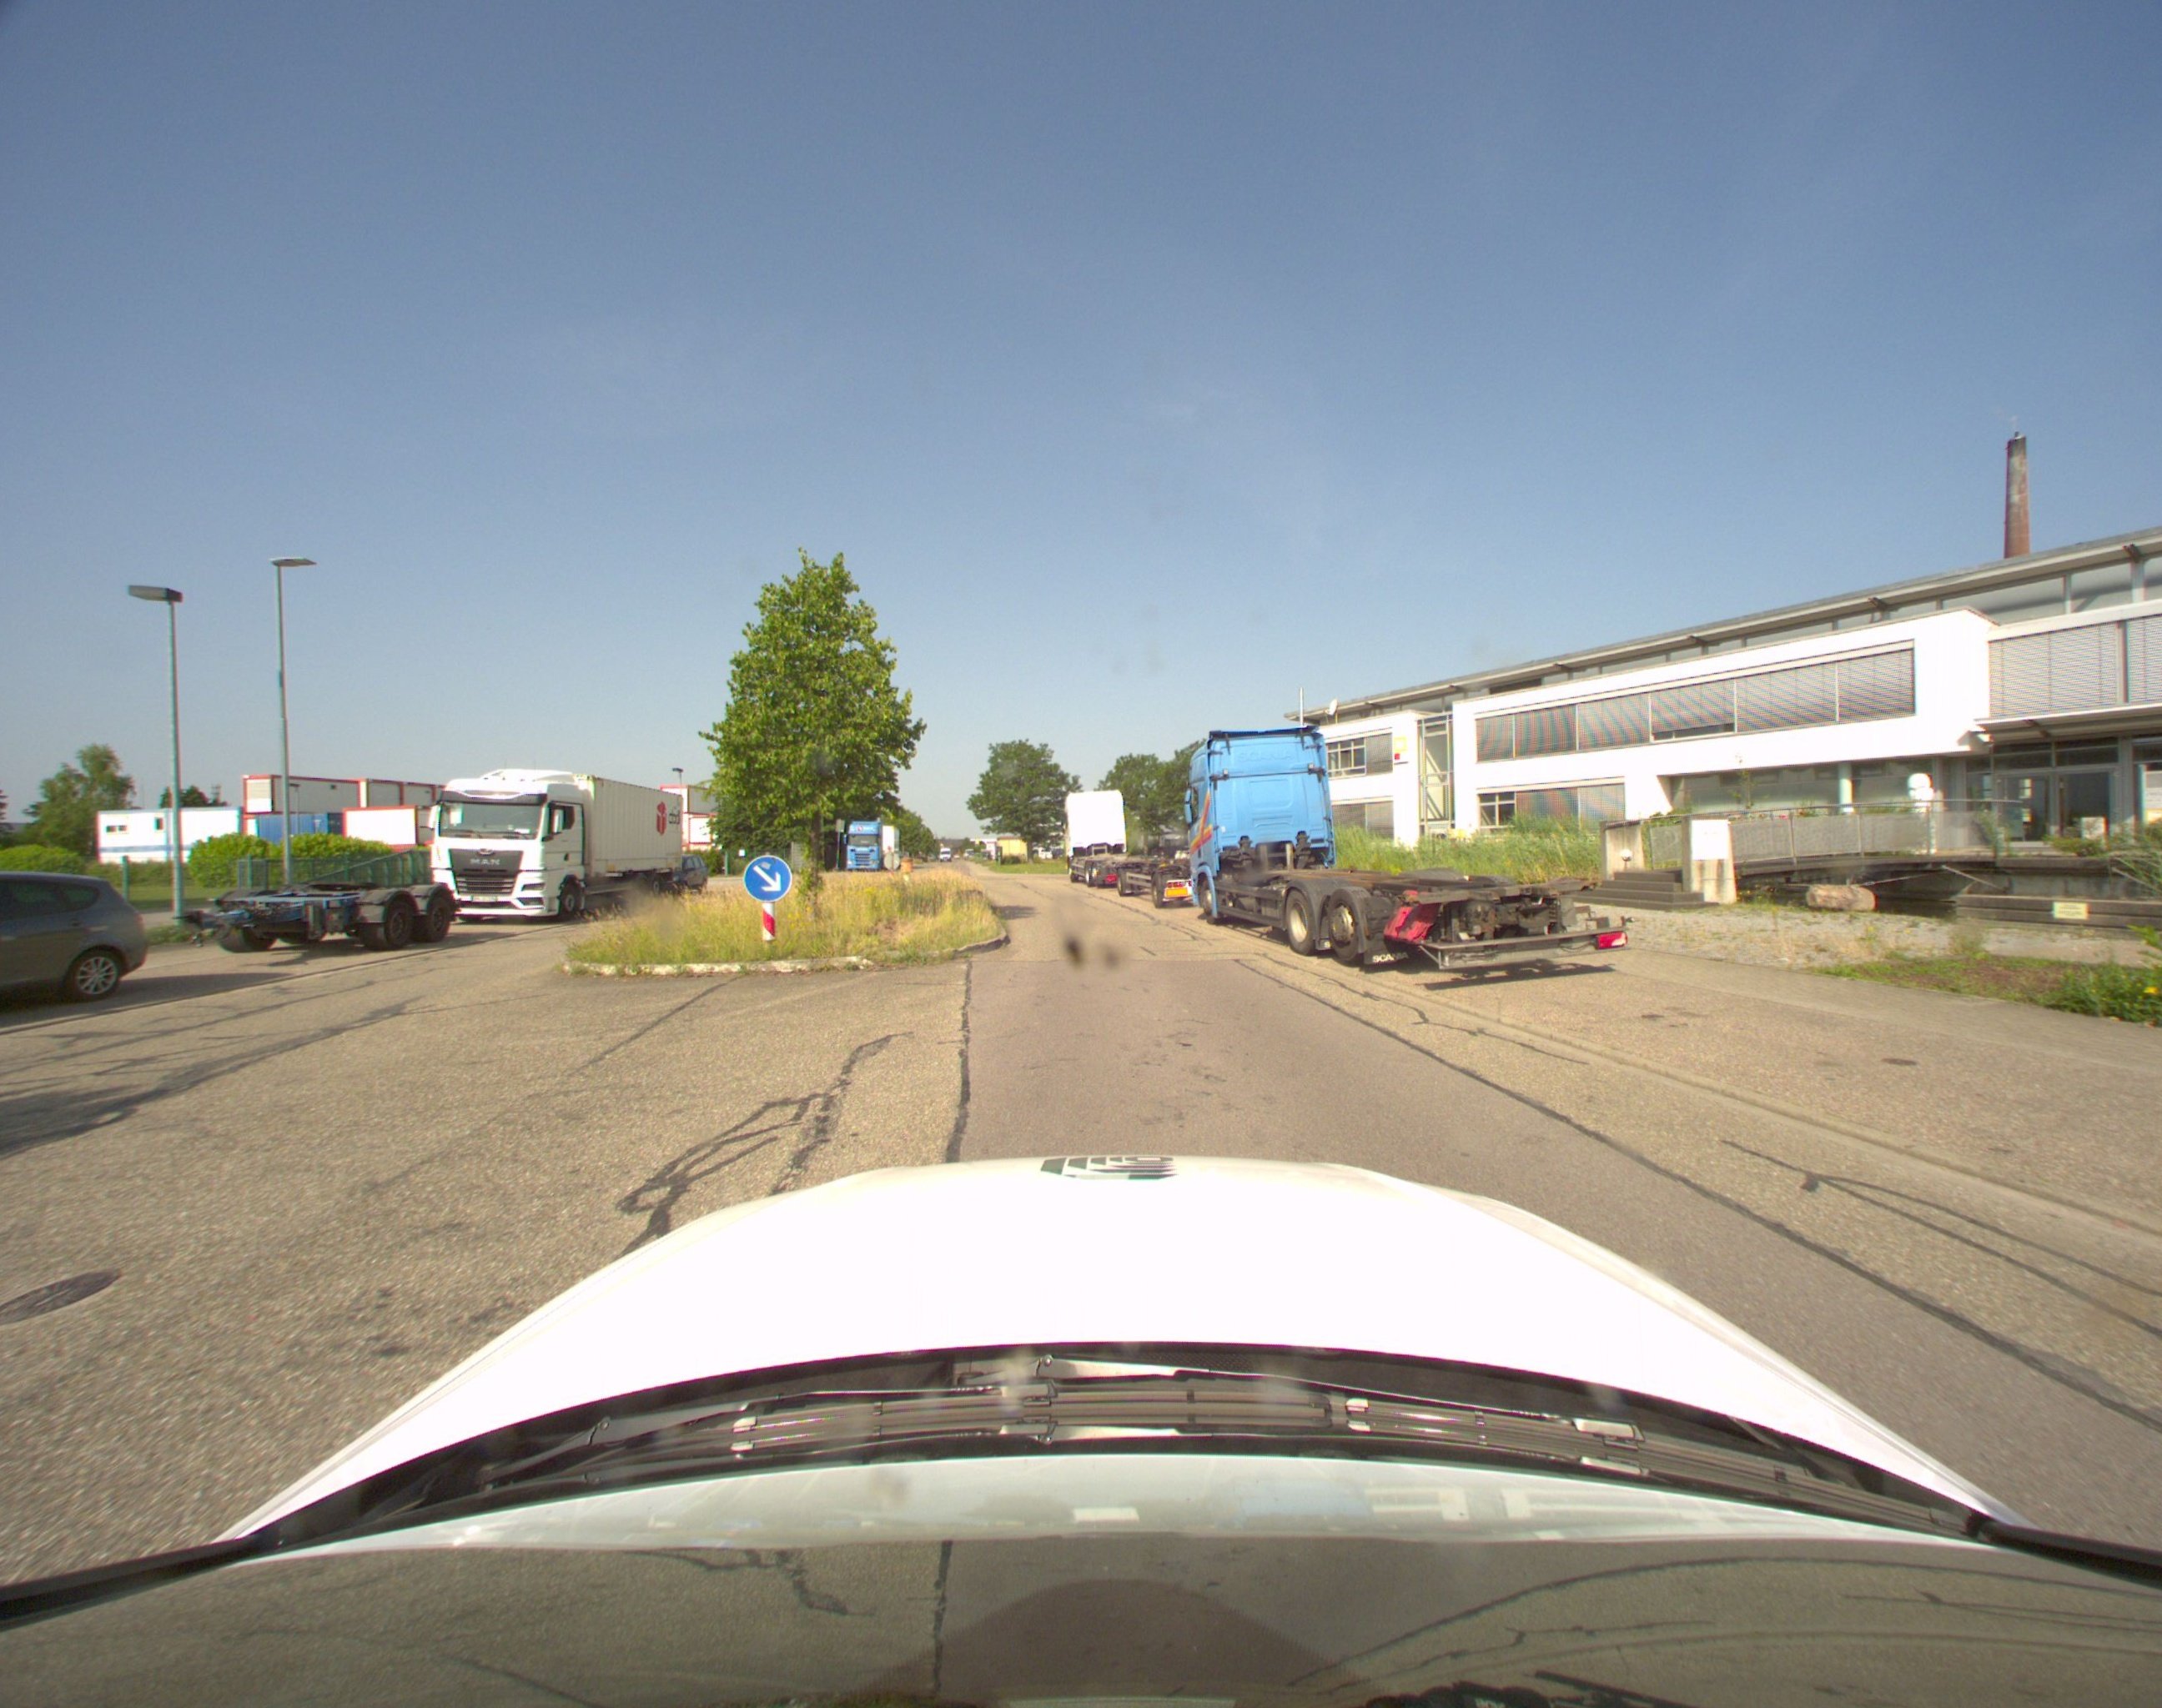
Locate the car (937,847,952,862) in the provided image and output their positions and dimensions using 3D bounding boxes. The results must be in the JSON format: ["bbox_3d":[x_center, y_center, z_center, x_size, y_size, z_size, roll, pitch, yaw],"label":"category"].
[{"bbox_3d":[-25.266,0.140,150.447,2.218,2.686,6.818,1,-1,-15],"label":"car"}]

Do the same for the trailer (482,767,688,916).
[{"bbox_3d":[-14.897,-0.252,25.290,2.699,3.922,7.550,1,-1,-9],"label":"trailer"}]

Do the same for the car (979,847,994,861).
[{"bbox_3d":[-12.450,-0.010,107.167,1.792,1.750,3.987,1,-1,-9],"label":"car"}]

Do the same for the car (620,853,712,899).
[{"bbox_3d":[-16.197,0.794,32.040,1.994,1.641,4.571,0,0,-11],"label":"car"}]

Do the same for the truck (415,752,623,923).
[{"bbox_3d":[-14.221,-0.326,21.049,2.708,3.922,4.282,1,-1,-9],"label":"truck"}]

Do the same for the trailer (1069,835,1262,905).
[{"bbox_3d":[2.008,0.398,28.168,2.745,1.574,16.125,-3,0,-8],"label":"trailer"}]

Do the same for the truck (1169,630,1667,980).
[{"bbox_3d":[4.173,-0.508,13.485,2.886,3.535,9.728,-5,0,-8],"label":"truck"}]

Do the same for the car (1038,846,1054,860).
[{"bbox_3d":[-4.309,-0.126,99.745,1.715,1.618,3.992,1,-1,-5],"label":"car"}]

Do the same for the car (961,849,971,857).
[{"bbox_3d":[-29.027,-0.252,206.139,1.776,1.815,3.975,1,-1,-18],"label":"car"}]

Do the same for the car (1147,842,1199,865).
[{"bbox_3d":[7.439,-0.030,65.688,4.020,1.767,1.977,2,-2,-40],"label":"car"}]

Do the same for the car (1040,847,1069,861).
[{"bbox_3d":[-2.650,-0.003,81.046,1.676,1.330,3.633,1,-1,-25],"label":"car"}]

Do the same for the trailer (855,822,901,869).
[{"bbox_3d":[-18.236,-0.617,73.812,2.830,3.843,11.998,1,-1,-9],"label":"trailer"}]

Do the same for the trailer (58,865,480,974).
[{"bbox_3d":[-13.601,0.967,14.338,2.679,1.453,5.064,0,0,-7],"label":"trailer"}]

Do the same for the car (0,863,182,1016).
[{"bbox_3d":[-12.354,0.934,8.412,1.695,1.561,4.323,2,0,-8],"label":"car"}]

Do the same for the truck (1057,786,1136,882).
[{"bbox_3d":[0.625,-0.859,37.101,2.745,3.981,3.988,-4,0,-9],"label":"truck"}]

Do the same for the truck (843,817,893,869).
[{"bbox_3d":[-16.995,-0.758,65.614,2.824,3.826,9.642,1,-1,-9],"label":"truck"}]

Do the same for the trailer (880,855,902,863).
[{"bbox_3d":[-18.820,0.469,80.778,1.896,0.760,3.987,-1,0,-9],"label":"trailer"}]

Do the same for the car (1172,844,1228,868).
[{"bbox_3d":[9.197,0.182,62.934,4.099,1.701,1.748,1,-1,-30],"label":"car"}]
